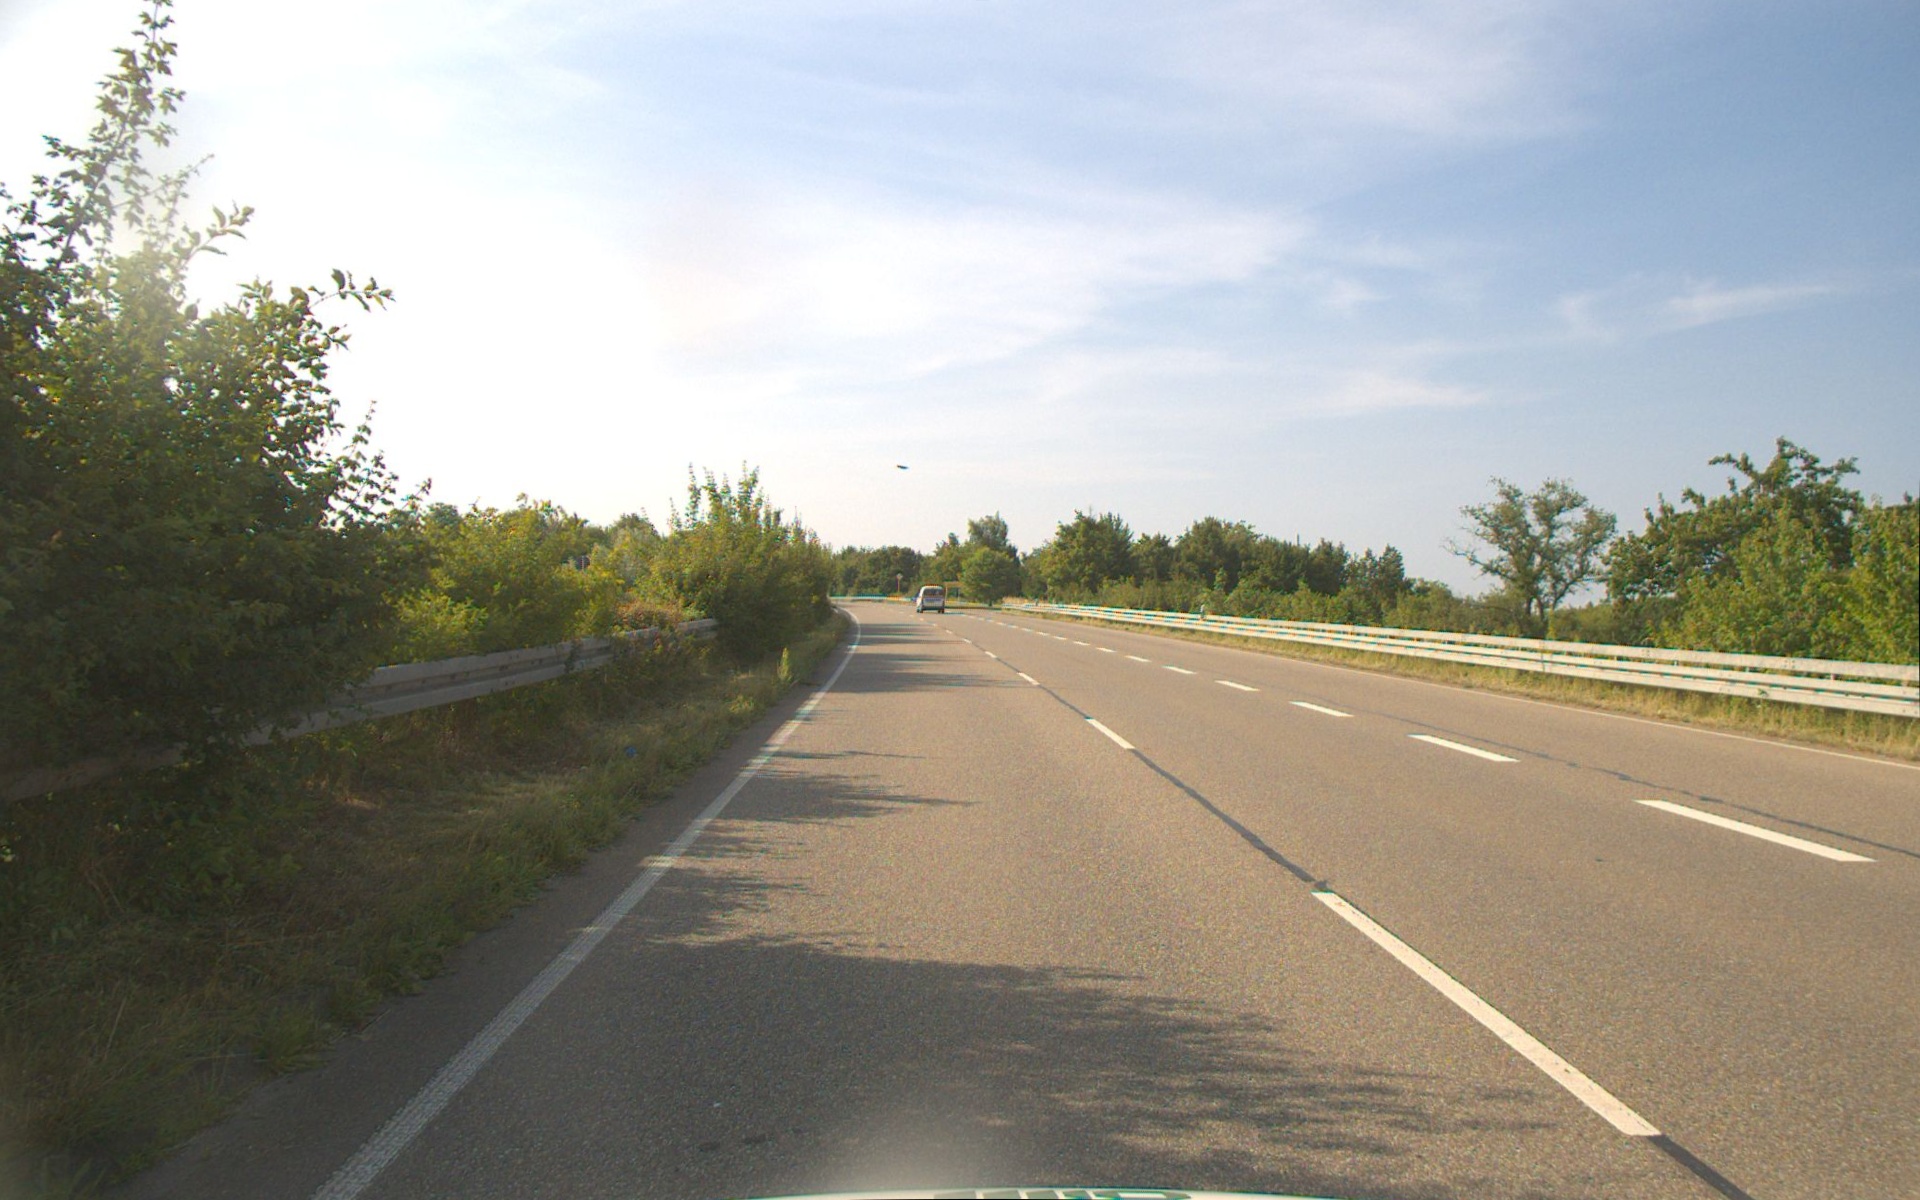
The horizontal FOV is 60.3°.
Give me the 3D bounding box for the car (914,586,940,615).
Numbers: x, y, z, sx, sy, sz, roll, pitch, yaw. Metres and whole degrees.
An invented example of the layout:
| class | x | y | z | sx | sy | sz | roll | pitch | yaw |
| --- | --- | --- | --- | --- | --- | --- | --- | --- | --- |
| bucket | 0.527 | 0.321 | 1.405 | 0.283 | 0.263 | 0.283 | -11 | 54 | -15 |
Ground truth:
| class | x | y | z | sx | sy | sz | roll | pitch | yaw |
| --- | --- | --- | --- | --- | --- | --- | --- | --- | --- |
| car | -2.238 | 0.069 | 113.487 | 1.729 | 1.915 | 3.999 | 1 | -1 | -1 |
